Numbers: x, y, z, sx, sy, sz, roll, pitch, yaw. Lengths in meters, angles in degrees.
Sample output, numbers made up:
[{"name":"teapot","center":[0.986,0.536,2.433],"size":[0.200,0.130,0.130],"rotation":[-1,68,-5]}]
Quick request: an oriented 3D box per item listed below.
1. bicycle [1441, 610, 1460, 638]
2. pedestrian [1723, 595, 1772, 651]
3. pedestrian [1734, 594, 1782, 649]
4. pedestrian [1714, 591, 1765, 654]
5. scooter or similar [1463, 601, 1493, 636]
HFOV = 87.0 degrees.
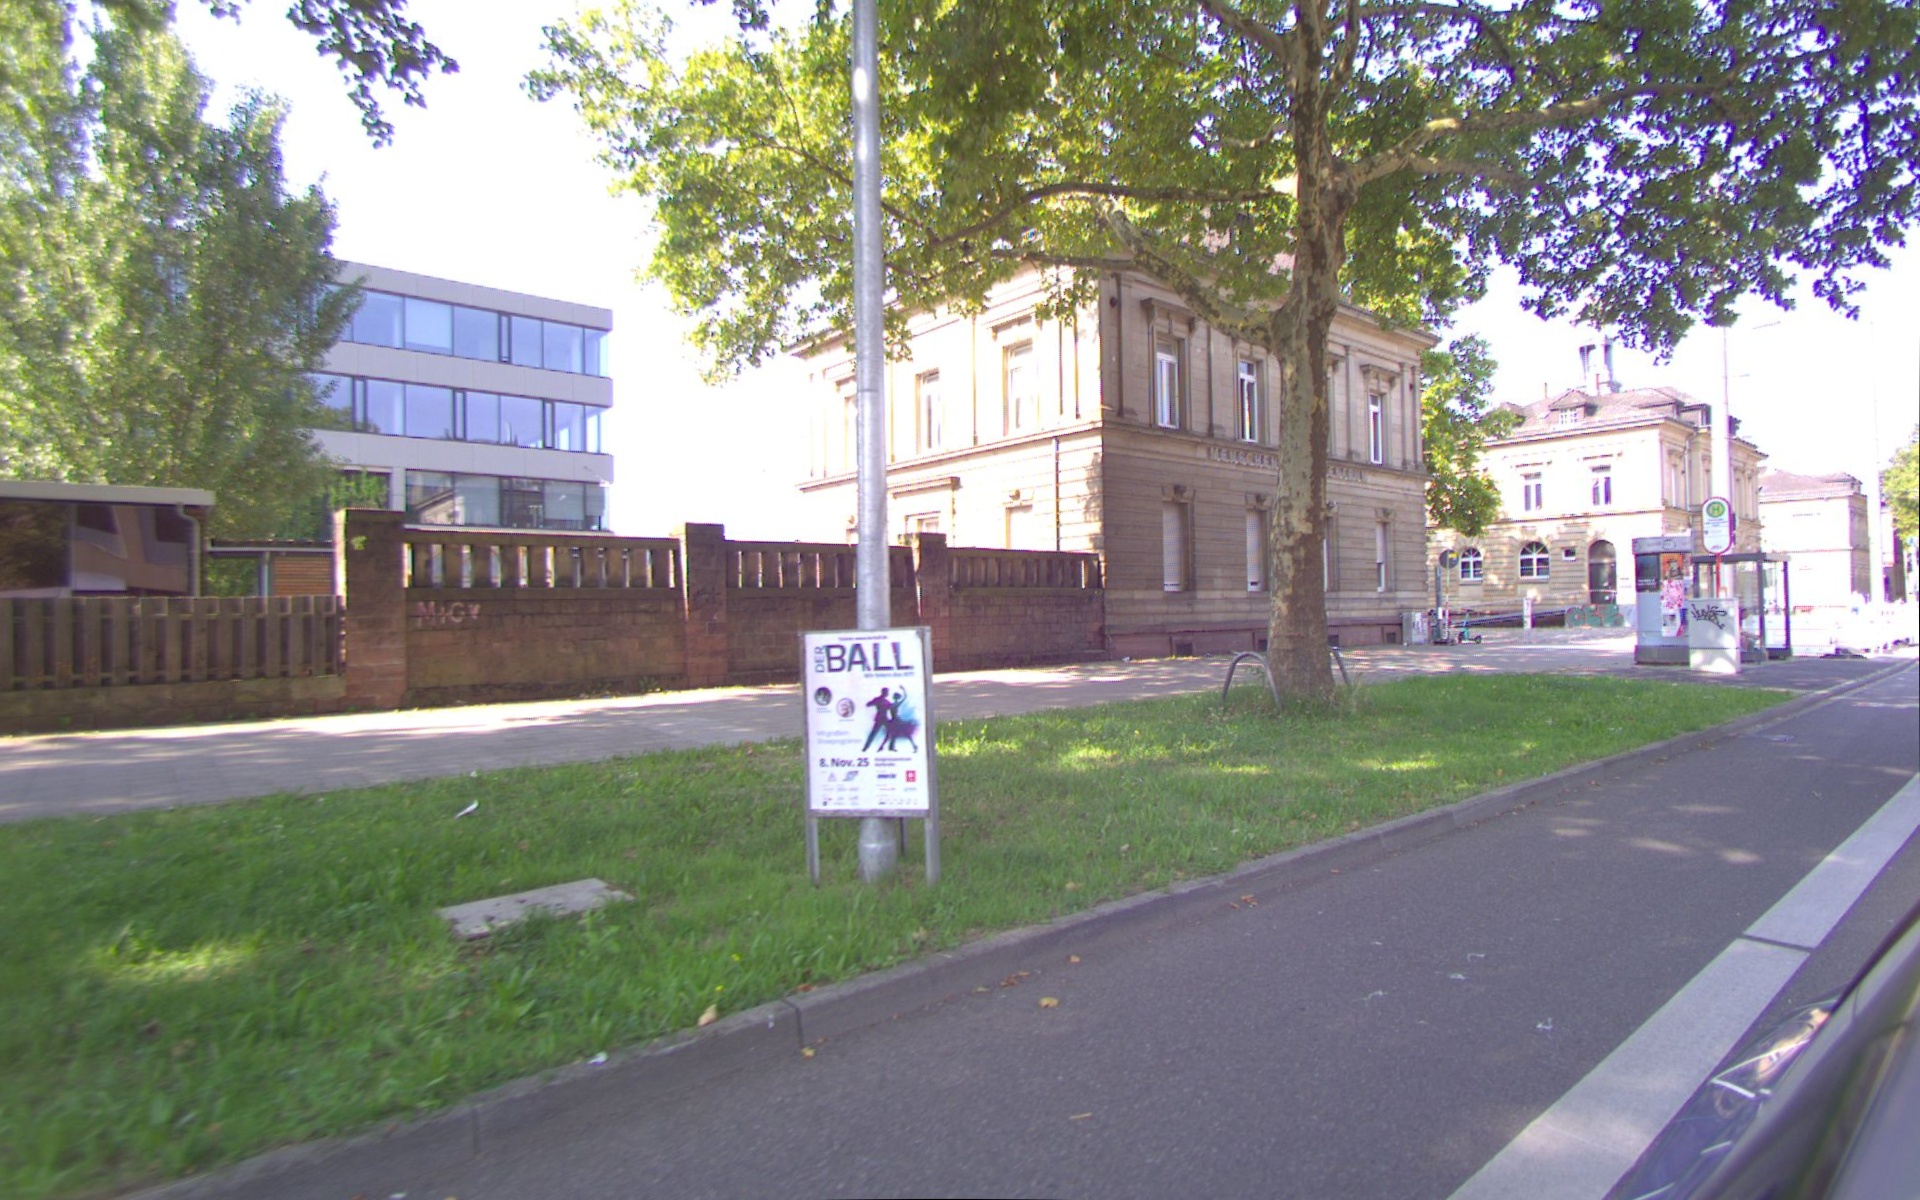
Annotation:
[{"name":"bicycle","center":[18.423,0.924,37.993],"size":[0.489,1.013,1.797],"rotation":[-1,-3,31]},{"name":"pedestrian","center":[18.328,0.536,23.565],"size":[0.601,1.277,0.742],"rotation":[-1,-2,-40]},{"name":"pedestrian","center":[18.950,0.513,24.028],"size":[0.601,1.277,0.742],"rotation":[-1,-2,-40]},{"name":"pedestrian","center":[17.825,0.517,23.144],"size":[0.601,1.383,0.751],"rotation":[-1,-2,-40]},{"name":"scooter or similar","center":[18.653,0.666,36.414],"size":[1.150,1.244,0.427],"rotation":[0,-1,-33]}]
